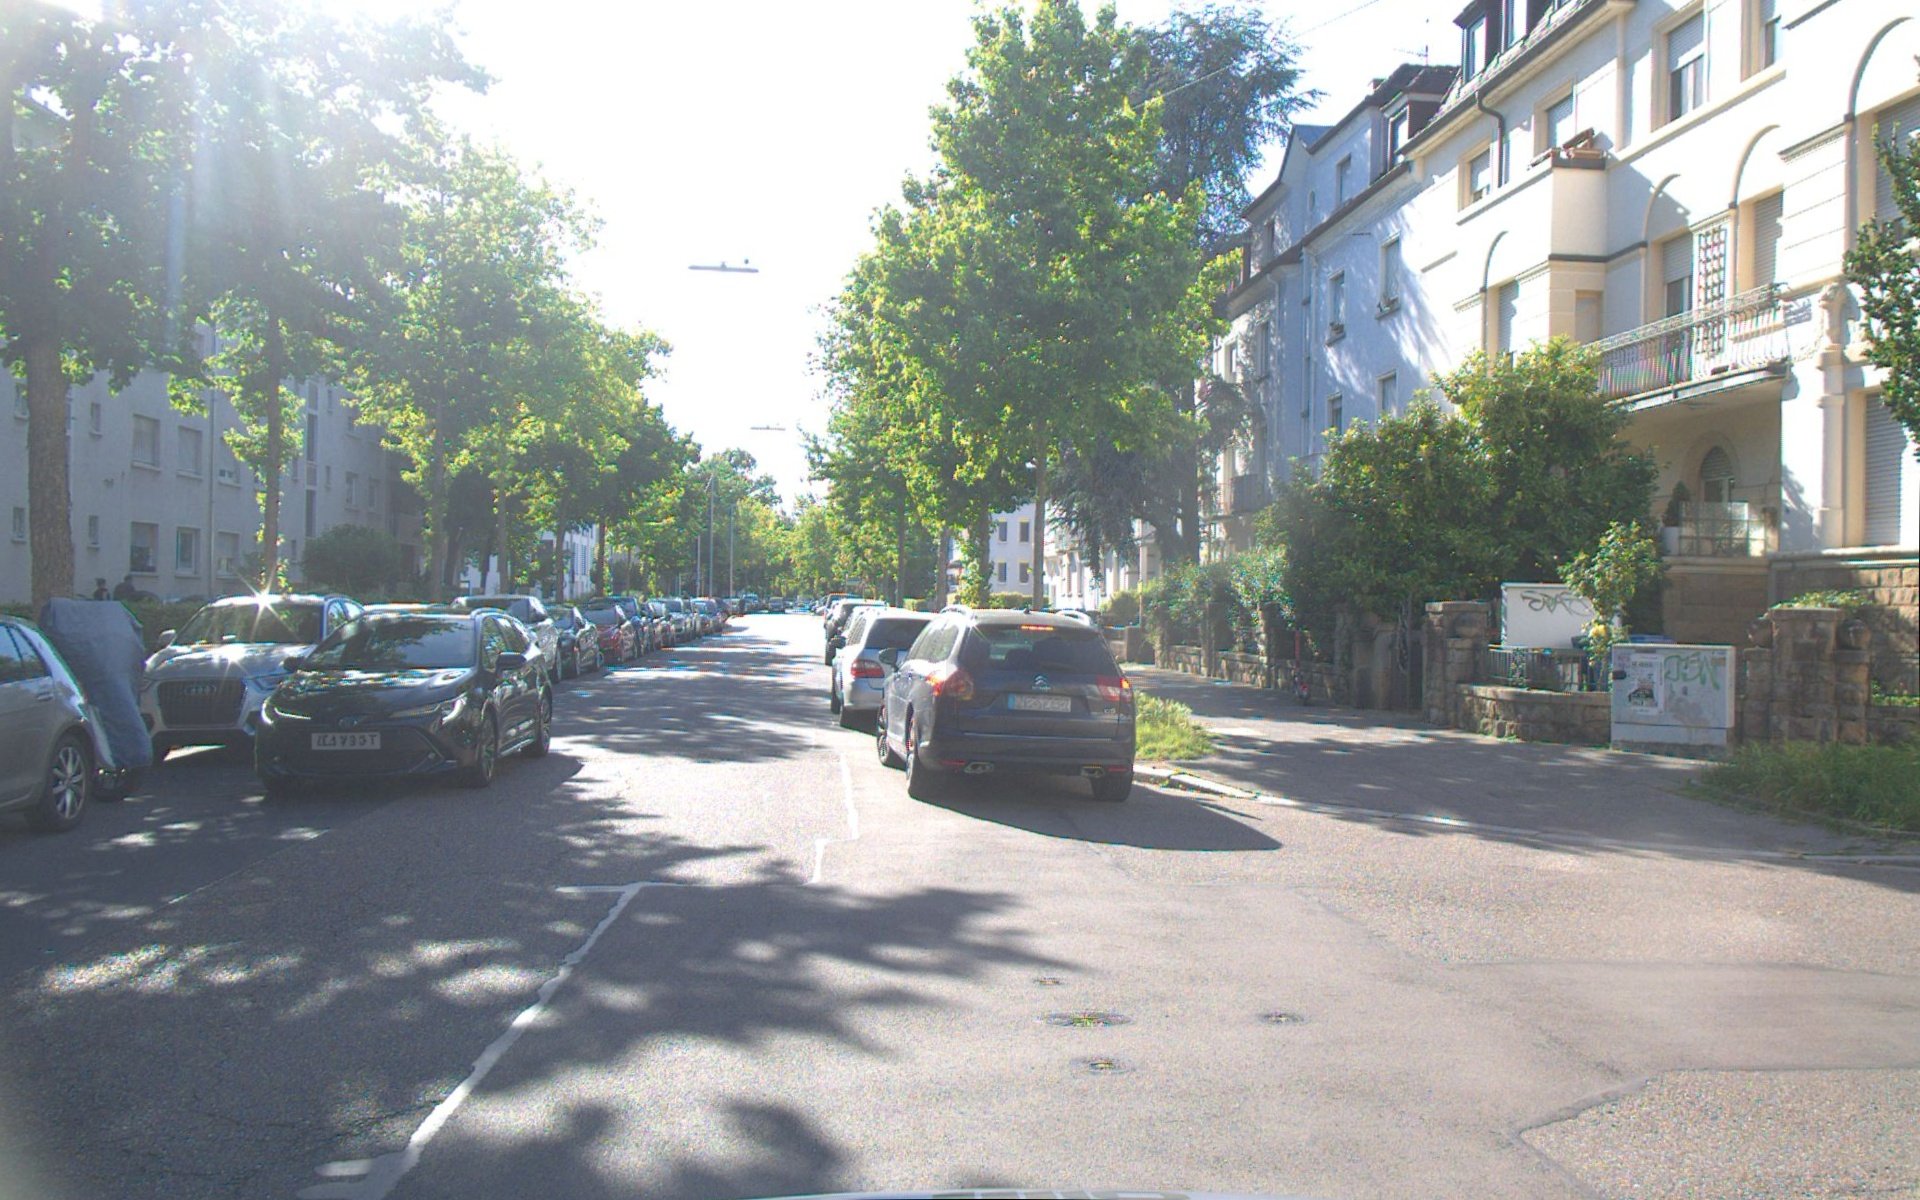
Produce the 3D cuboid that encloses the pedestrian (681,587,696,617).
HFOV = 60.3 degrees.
[{"bbox_3d":[-18.596,0.161,113.225,0.841,2.049,0.981,0,0,3],"label":"pedestrian"}]

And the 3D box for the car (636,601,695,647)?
[{"bbox_3d":[-10.900,0.866,61.446,1.776,1.624,4.228,0,0,-5],"label":"car"}]

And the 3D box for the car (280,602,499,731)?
[{"bbox_3d":[-7.554,0.800,22.380,1.695,1.472,4.815,-2,0,-6],"label":"car"}]

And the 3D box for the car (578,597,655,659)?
[{"bbox_3d":[-9.565,0.740,46.284,1.756,1.594,4.457,-2,0,-8],"label":"car"}]

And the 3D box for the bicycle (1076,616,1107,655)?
[{"bbox_3d":[3.529,0.948,44.496,0.569,0.992,1.902,0,0,-3],"label":"bicycle"}]

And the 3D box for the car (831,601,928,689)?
[{"bbox_3d":[-1.659,0.854,33.058,1.622,1.559,3.964,3,0,-6],"label":"car"}]

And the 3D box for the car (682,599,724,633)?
[{"bbox_3d":[-12.677,0.763,81.726,1.804,1.623,4.257,-1,0,-6],"label":"car"}]

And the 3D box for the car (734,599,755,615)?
[{"bbox_3d":[-22.479,0.703,172.315,1.955,1.613,3.996,0,0,-5],"label":"car"}]

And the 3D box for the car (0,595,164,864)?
[{"bbox_3d":[-6.528,0.745,9.424,2.002,1.551,4.602,0,0,-4],"label":"car"}]

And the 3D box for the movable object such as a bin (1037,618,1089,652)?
[{"bbox_3d":[2.988,1.008,47.964,1.195,0.920,1.665,0,0,15],"label":"movable object such as a bin"}]

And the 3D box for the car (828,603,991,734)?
[{"bbox_3d":[-0.799,0.835,22.387,1.786,1.495,4.903,2,0,-6],"label":"car"}]

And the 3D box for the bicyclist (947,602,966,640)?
[{"bbox_3d":[-0.142,0.896,70.642,0.663,1.580,1.020,0,0,-8],"label":"bicyclist"}]

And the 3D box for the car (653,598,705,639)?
[{"bbox_3d":[-11.367,0.720,67.018,1.676,1.571,3.926,-1,0,-5],"label":"car"}]

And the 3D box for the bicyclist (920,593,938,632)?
[{"bbox_3d":[-1.315,0.536,70.644,0.664,1.638,0.920,0,0,-8],"label":"bicyclist"}]

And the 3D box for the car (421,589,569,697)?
[{"bbox_3d":[-8.035,0.696,28.921,1.695,1.646,4.360,-3,0,-6],"label":"car"}]

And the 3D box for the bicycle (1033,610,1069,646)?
[{"bbox_3d":[2.920,0.891,53.396,0.788,1.135,1.996,1,0,-8],"label":"bicycle"}]

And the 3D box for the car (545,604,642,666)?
[{"bbox_3d":[-9.053,0.829,41.163,1.745,1.403,4.258,-1,0,-5],"label":"car"}]

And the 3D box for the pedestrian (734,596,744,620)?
[{"bbox_3d":[-17.962,0.629,134.596,0.703,1.933,0.833,0,0,-15],"label":"pedestrian"}]

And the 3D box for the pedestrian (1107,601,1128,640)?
[{"bbox_3d":[4.762,0.611,50.133,0.499,1.162,0.755,1,-1,-3],"label":"pedestrian"}]

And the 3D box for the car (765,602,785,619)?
[{"bbox_3d":[-18.084,1.001,161.538,1.750,1.637,3.991,0,0,-9],"label":"car"}]

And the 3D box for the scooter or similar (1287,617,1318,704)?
[{"bbox_3d":[4.972,0.868,24.049,0.393,1.205,1.207,0,0,10],"label":"scooter or similar"}]

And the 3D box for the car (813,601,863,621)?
[{"bbox_3d":[-9.890,0.874,133.815,3.913,1.615,1.723,0,0,-9],"label":"car"}]

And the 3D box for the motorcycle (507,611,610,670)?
[{"bbox_3d":[-9.167,0.912,37.813,2.248,1.293,0.805,-1,0,-16],"label":"motorcycle"}]

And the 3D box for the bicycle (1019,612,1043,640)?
[{"bbox_3d":[2.487,0.898,57.919,0.584,0.974,1.901,0,0,-5],"label":"bicycle"}]

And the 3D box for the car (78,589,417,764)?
[{"bbox_3d":[-7.162,0.681,17.214,2.025,1.551,4.713,1,0,-8],"label":"car"}]

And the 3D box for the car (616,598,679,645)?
[{"bbox_3d":[-10.519,0.704,55.923,1.728,1.469,3.904,-1,0,-6],"label":"car"}]

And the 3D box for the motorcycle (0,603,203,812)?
[{"bbox_3d":[-6.970,0.787,13.241,0.982,1.530,2.197,0,0,-45],"label":"motorcycle"}]

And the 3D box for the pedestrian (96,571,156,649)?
[{"bbox_3d":[-20.877,0.257,41.431,0.913,1.921,1.026,0,0,6],"label":"pedestrian"}]

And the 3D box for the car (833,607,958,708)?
[{"bbox_3d":[-1.154,0.888,27.360,1.678,1.435,4.855,2,0,-6],"label":"car"}]

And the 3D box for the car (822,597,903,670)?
[{"bbox_3d":[-2.501,0.797,42.593,1.888,1.680,5.091,3,0,-3],"label":"car"}]

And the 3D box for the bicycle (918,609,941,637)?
[{"bbox_3d":[-1.307,0.979,70.552,0.671,1.173,2.398,0,0,-8],"label":"bicycle"}]

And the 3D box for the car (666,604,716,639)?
[{"bbox_3d":[-12.289,0.973,75.670,1.955,1.478,4.257,-2,0,-6],"label":"car"}]

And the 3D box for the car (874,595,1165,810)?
[{"bbox_3d":[0.322,0.796,14.684,1.859,1.551,4.960,1,-1,-6],"label":"car"}]

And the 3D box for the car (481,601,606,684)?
[{"bbox_3d":[-8.528,0.820,34.234,1.695,1.503,4.614,-3,0,-5],"label":"car"}]

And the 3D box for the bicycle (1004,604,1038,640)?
[{"bbox_3d":[2.196,0.799,60.300,0.823,1.279,2.227,1,0,-9],"label":"bicycle"}]

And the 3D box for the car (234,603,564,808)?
[{"bbox_3d":[-4.664,0.781,14.415,1.774,1.471,4.360,-1,0,-6],"label":"car"}]
